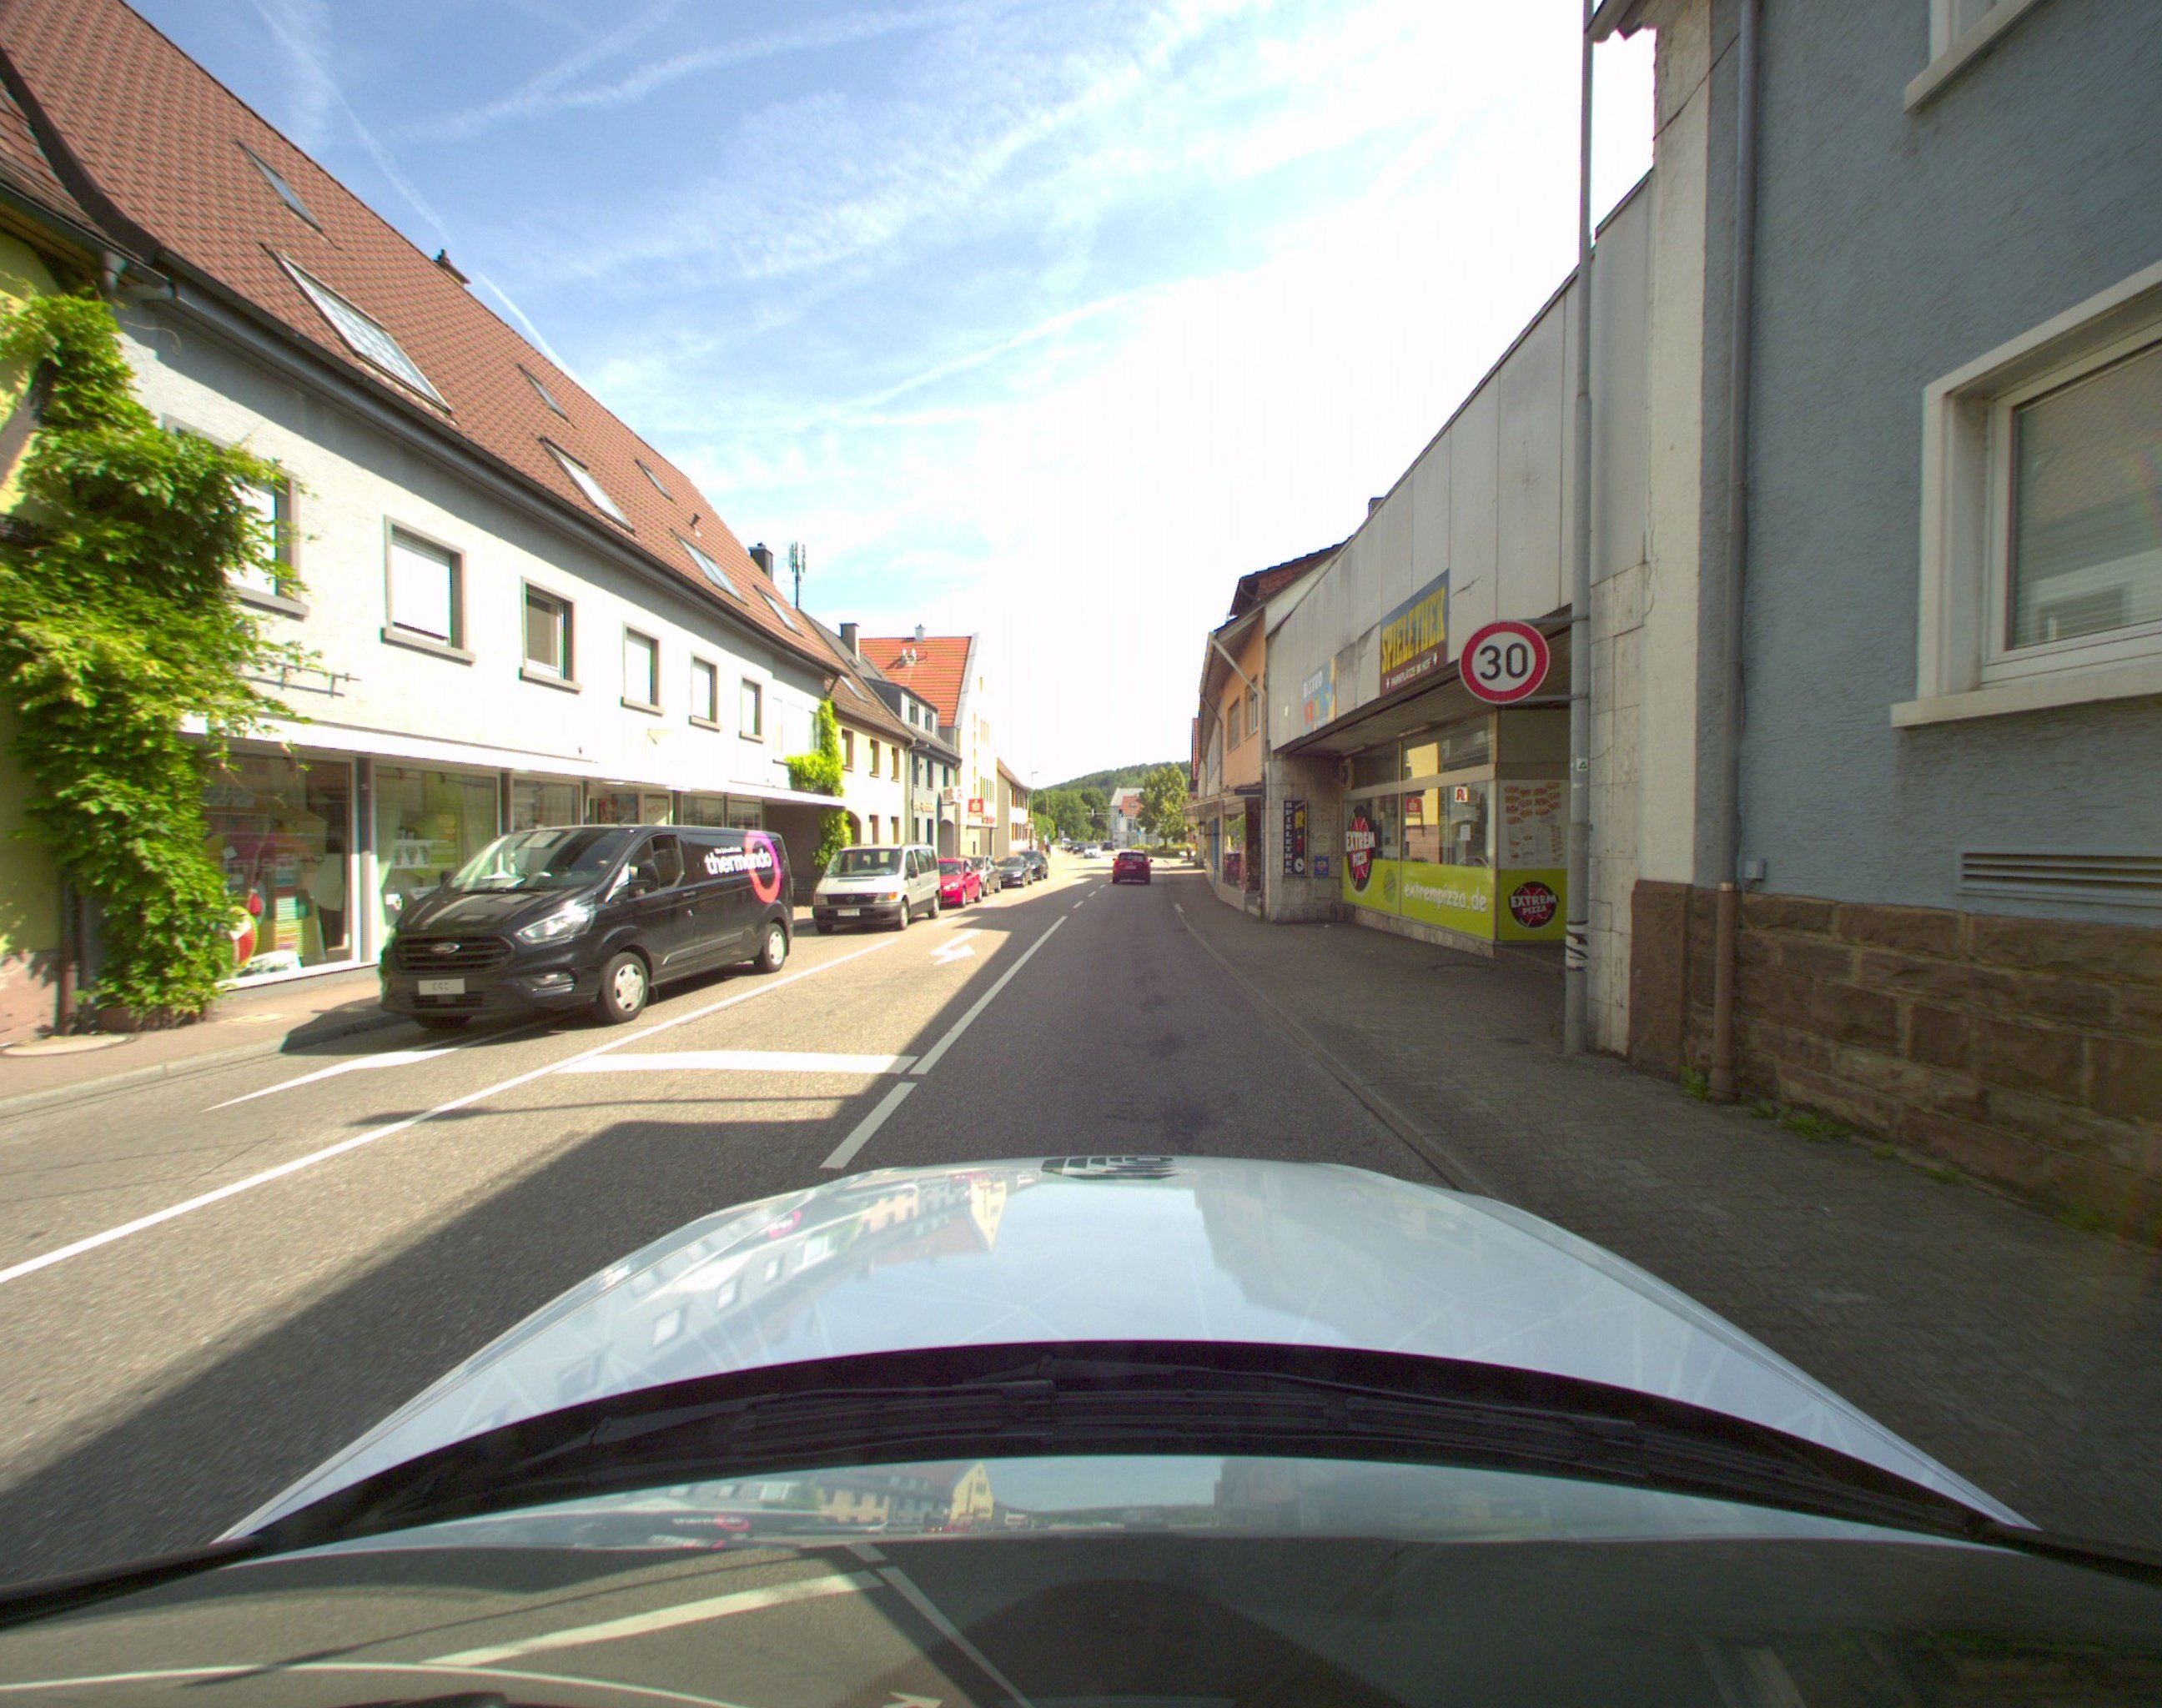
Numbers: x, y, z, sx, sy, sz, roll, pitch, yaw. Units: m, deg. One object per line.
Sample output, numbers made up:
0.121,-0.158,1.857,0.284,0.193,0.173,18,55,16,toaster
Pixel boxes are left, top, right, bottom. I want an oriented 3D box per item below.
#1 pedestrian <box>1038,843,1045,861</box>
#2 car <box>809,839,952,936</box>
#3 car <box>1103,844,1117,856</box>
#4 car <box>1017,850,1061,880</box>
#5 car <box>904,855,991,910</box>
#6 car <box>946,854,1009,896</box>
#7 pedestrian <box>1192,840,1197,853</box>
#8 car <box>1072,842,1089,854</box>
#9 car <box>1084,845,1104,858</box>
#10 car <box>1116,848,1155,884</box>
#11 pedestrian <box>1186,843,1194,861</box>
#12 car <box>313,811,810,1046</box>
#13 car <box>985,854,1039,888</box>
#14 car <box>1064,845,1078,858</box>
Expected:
-4.234,-0.204,86.757,0.663,1.824,0.798,-1,-2,-1,pedestrian
-4.390,0.660,18.657,1.875,1.890,4.555,-2,0,3,car
4.454,-0.573,125.229,1.923,1.794,3.962,-1,-2,6,car
-2.310,0.580,46.154,1.859,1.589,4.523,-2,0,4,car
-4.020,0.817,25.141,1.751,1.492,4.080,-2,0,3,car
-4.028,0.781,32.219,1.621,1.520,4.024,-2,0,4,car
16.187,-1.081,116.107,0.640,1.879,0.652,-1,-2,-1,pedestrian
-0.060,-0.792,110.710,1.830,1.532,4.260,-1,2,5,car
1.525,-0.285,93.693,1.978,1.444,5.109,-1,0,5,car
2.756,0.561,41.088,1.850,1.714,4.427,1,0,4,car
10.932,-0.204,81.565,0.640,1.707,0.700,-1,-2,-1,pedestrian
-5.236,0.622,9.417,2.150,1.923,5.170,-2,0,3,car
-3.191,0.758,38.280,1.780,1.450,4.429,-2,0,4,car
-1.411,-0.406,121.123,1.767,1.785,3.842,-1,-2,3,car
